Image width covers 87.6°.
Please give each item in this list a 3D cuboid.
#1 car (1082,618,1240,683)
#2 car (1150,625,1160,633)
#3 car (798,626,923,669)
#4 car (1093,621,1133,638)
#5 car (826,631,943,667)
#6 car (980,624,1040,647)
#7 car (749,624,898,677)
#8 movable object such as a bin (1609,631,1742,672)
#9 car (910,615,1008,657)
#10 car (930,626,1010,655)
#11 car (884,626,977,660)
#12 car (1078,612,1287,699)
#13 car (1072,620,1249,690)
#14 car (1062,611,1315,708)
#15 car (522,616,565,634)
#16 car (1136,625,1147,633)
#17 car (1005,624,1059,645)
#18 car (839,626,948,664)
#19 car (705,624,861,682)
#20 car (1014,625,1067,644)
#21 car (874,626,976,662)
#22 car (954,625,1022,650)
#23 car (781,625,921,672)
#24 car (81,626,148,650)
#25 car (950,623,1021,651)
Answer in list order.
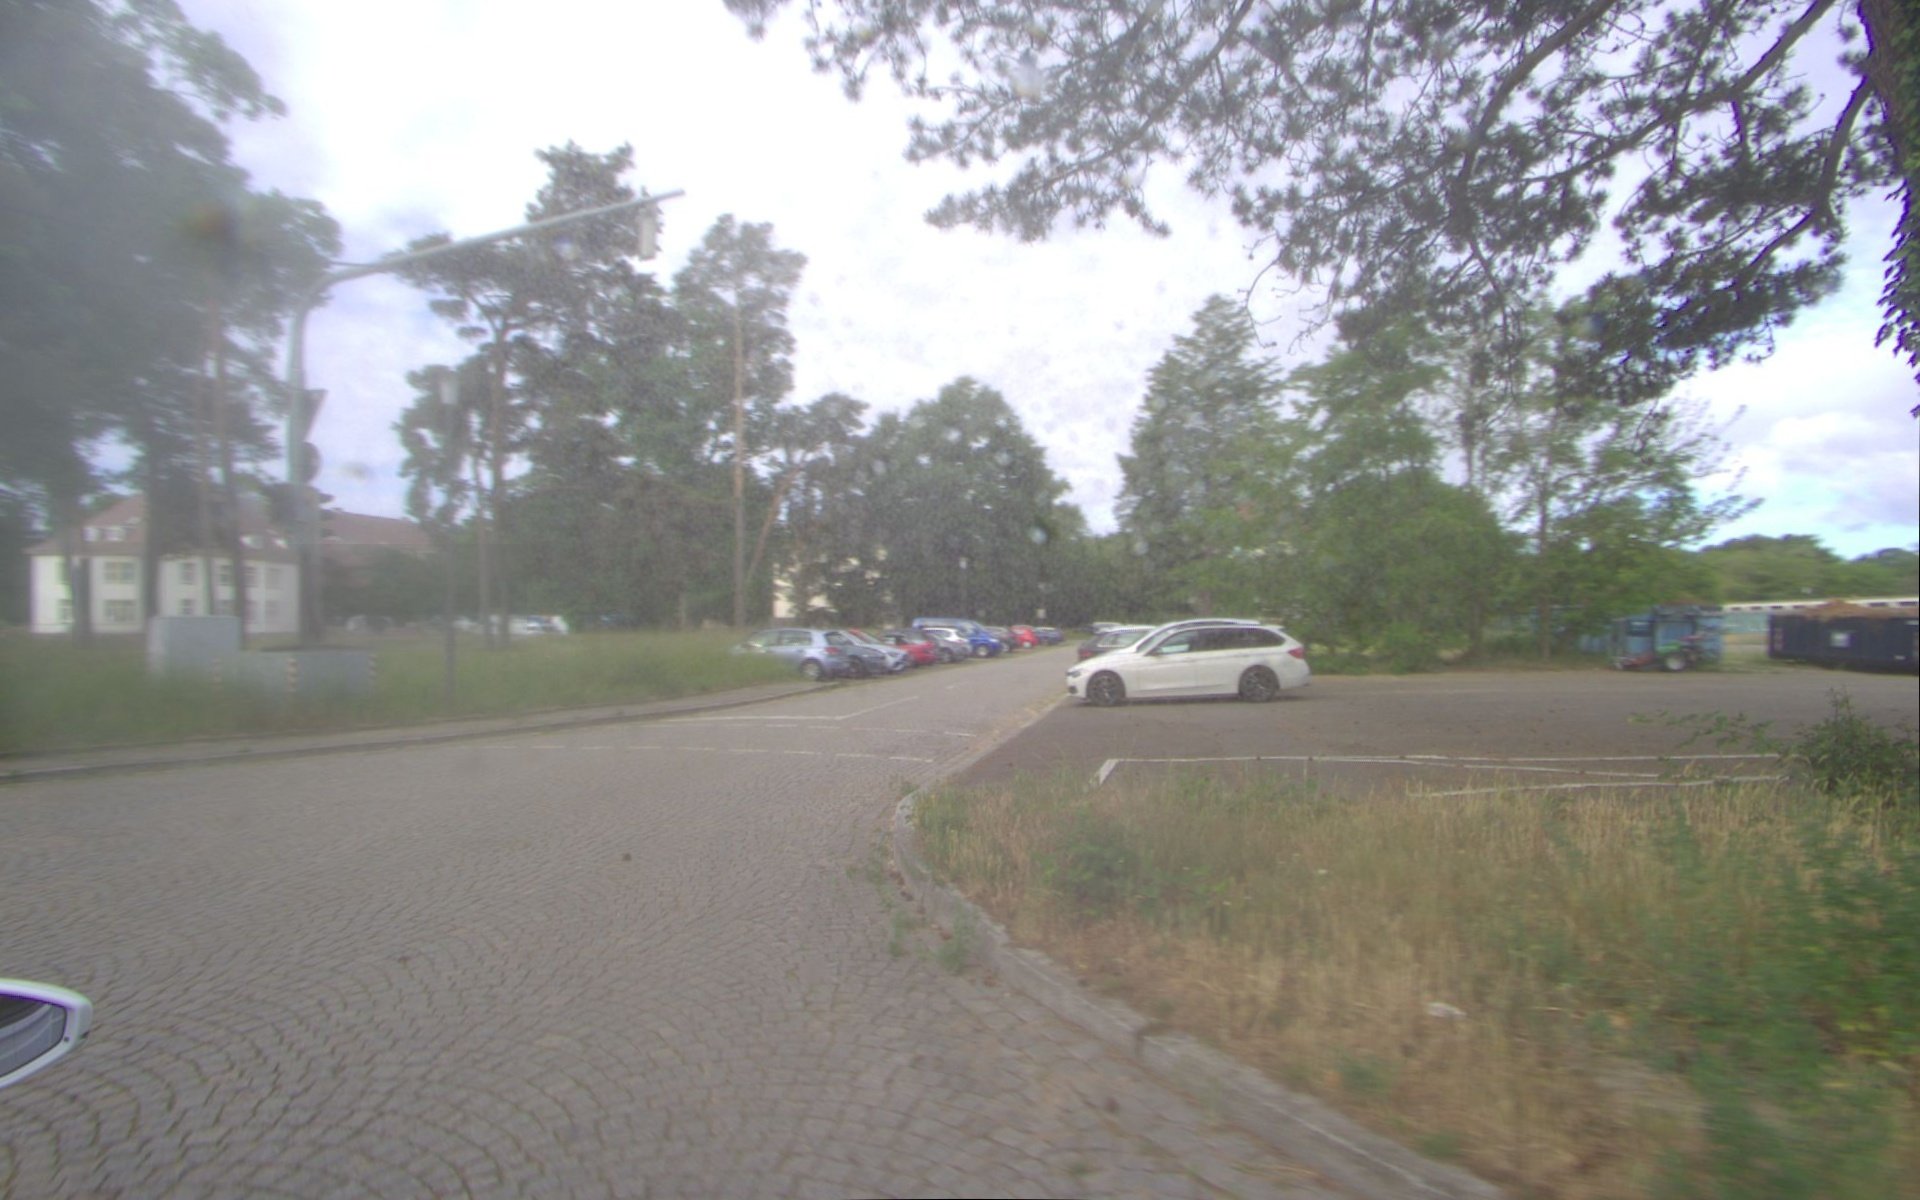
[{"bbox_3d":[5.382,1.357,27.111,4.009,1.534,1.804,-3,-1,10],"label":"car"},{"bbox_3d":[38.130,5.746,196.038,1.920,1.541,4.000,0,-2,10],"label":"car"},{"bbox_3d":[-3.549,1.670,35.914,4.100,1.495,1.864,0,-1,11],"label":"car"},{"bbox_3d":[20.191,3.839,132.138,5.151,2.196,2.000,0,-1,10],"label":"car"},{"bbox_3d":[-2.848,1.841,38.188,4.101,1.283,1.830,0,-1,13],"label":"car"},{"bbox_3d":[3.559,2.473,70.511,3.991,1.545,1.904,0,-1,10],"label":"car"},{"bbox_3d":[-4.161,1.521,30.893,4.182,1.568,1.935,0,-1,8],"label":"car"},{"bbox_3d":[18.117,1.296,25.408,2.639,1.001,0.853,0,-1,9],"label":"movable object such as a bin"},{"bbox_3d":[-0.020,1.833,51.602,4.707,2.149,2.114,0,-1,11],"label":"car"},{"bbox_3d":[0.541,2.151,54.127,4.100,1.530,1.781,0,-1,10],"label":"car"},{"bbox_3d":[-1.360,1.965,46.479,4.004,1.517,1.844,0,-1,13],"label":"car"},{"bbox_3d":[4.716,1.183,21.708,4.173,1.616,1.885,-3,-1,8],"label":"car"},{"bbox_3d":[4.839,1.328,24.458,4.009,1.471,1.885,-3,-1,10],"label":"car"},{"bbox_3d":[4.271,1.124,19.195,4.422,1.585,1.905,-3,-1,10],"label":"car"},{"bbox_3d":[-49.819,3.049,119.904,1.963,2.039,5.227,-1,-2,14],"label":"car"},{"bbox_3d":[35.494,5.761,196.302,2.085,1.541,3.999,0,-2,10],"label":"car"},{"bbox_3d":[5.798,2.771,80.514,4.161,1.597,1.886,1,-1,11],"label":"car"},{"bbox_3d":[-2.676,1.799,40.866,4.101,1.501,1.844,0,-1,13],"label":"car"},{"bbox_3d":[-4.954,1.457,28.272,3.924,1.563,1.905,0,-1,11],"label":"car"},{"bbox_3d":[6.822,2.943,85.112,4.236,1.480,1.974,1,-1,13],"label":"car"},{"bbox_3d":[-1.506,1.873,43.520,4.102,1.511,1.863,0,-1,14],"label":"car"},{"bbox_3d":[1.780,2.323,63.094,4.100,1.530,1.907,0,-1,11],"label":"car"},{"bbox_3d":[-3.604,1.599,33.579,4.304,1.527,1.935,0,-1,10],"label":"car"},{"bbox_3d":[-81.209,3.636,96.201,4.940,2.228,2.000,0,-1,4],"label":"car"},{"bbox_3d":[1.563,2.230,60.339,4.100,1.643,1.986,0,-1,9],"label":"car"}]
